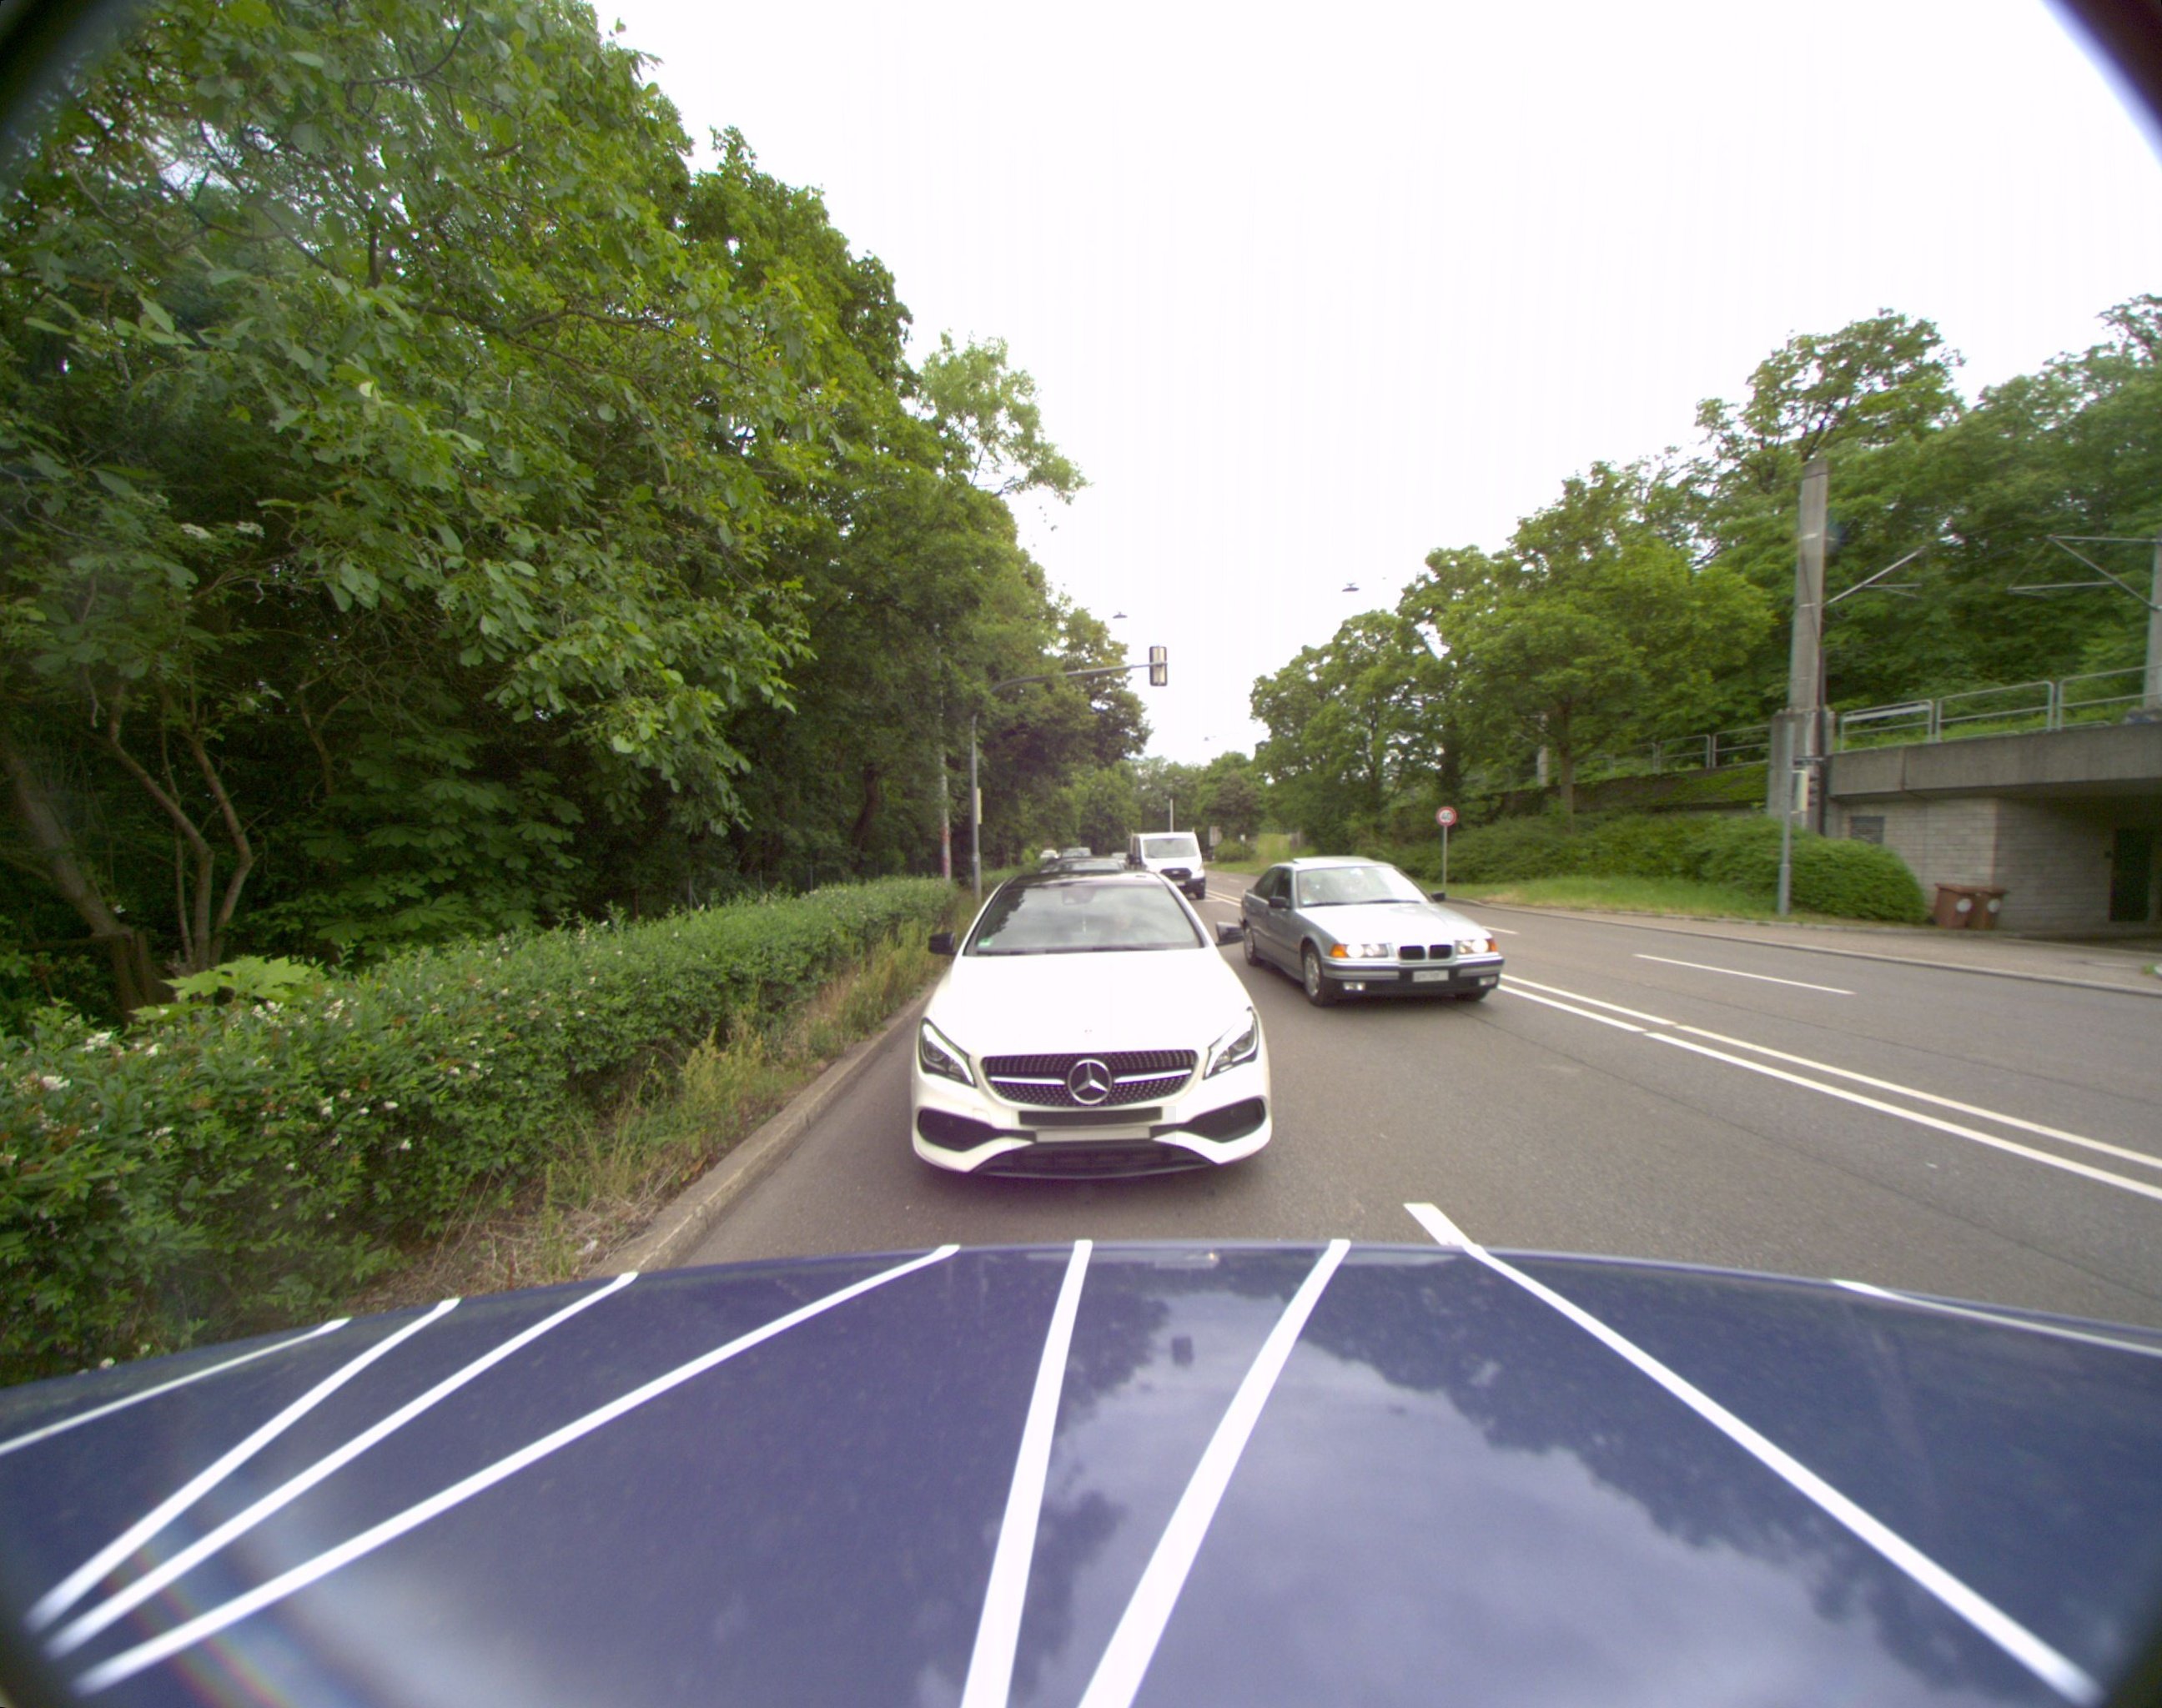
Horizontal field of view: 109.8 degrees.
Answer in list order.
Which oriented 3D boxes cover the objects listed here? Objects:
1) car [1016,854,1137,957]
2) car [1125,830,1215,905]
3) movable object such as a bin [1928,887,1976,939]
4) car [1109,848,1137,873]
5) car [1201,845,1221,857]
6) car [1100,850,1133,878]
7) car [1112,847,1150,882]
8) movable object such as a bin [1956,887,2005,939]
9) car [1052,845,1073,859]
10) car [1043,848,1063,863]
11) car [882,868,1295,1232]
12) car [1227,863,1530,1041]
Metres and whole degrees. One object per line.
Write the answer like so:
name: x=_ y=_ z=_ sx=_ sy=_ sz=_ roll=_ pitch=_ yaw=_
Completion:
car: x=-0.073 y=0.780 z=13.476 sx=1.755 sy=1.417 sz=4.009 roll=3 pitch=1 yaw=0
car: x=2.843 y=0.377 z=25.908 sx=2.285 sy=2.187 sz=6.458 roll=-1 pitch=0 yaw=0
movable object such as a bin: x=18.327 y=1.228 z=15.987 sx=0.419 sy=1.057 sz=0.503 roll=0 pitch=1 yaw=-4
car: x=2.951 y=0.450 z=53.415 sx=1.854 sy=1.641 sz=4.358 roll=1 pitch=0 yaw=3
car: x=22.959 y=-0.506 z=134.235 sx=1.994 sy=2.002 sz=4.008 roll=0 pitch=1 yaw=36
car: x=2.082 y=0.544 z=45.298 sx=1.855 sy=1.583 sz=4.000 roll=0 pitch=0 yaw=1
car: x=2.529 y=0.496 z=39.072 sx=1.800 sy=1.740 sz=4.000 roll=0 pitch=0 yaw=1
movable object such as a bin: x=18.990 y=1.227 z=16.039 sx=0.419 sy=1.057 sz=0.503 roll=0 pitch=1 yaw=-4
car: x=-2.170 y=-0.235 z=90.211 sx=1.754 sy=1.575 sz=4.013 roll=1 pitch=0 yaw=10
car: x=-2.749 y=0.134 z=74.854 sx=1.765 sy=1.433 sz=3.891 roll=1 pitch=0 yaw=0
car: x=0.060 y=0.923 z=5.422 sx=1.801 sy=1.470 sz=4.010 roll=-2 pitch=0 yaw=1
car: x=2.905 y=0.842 z=8.464 sx=1.664 sy=1.382 sz=4.182 roll=-1 pitch=0 yaw=-1
